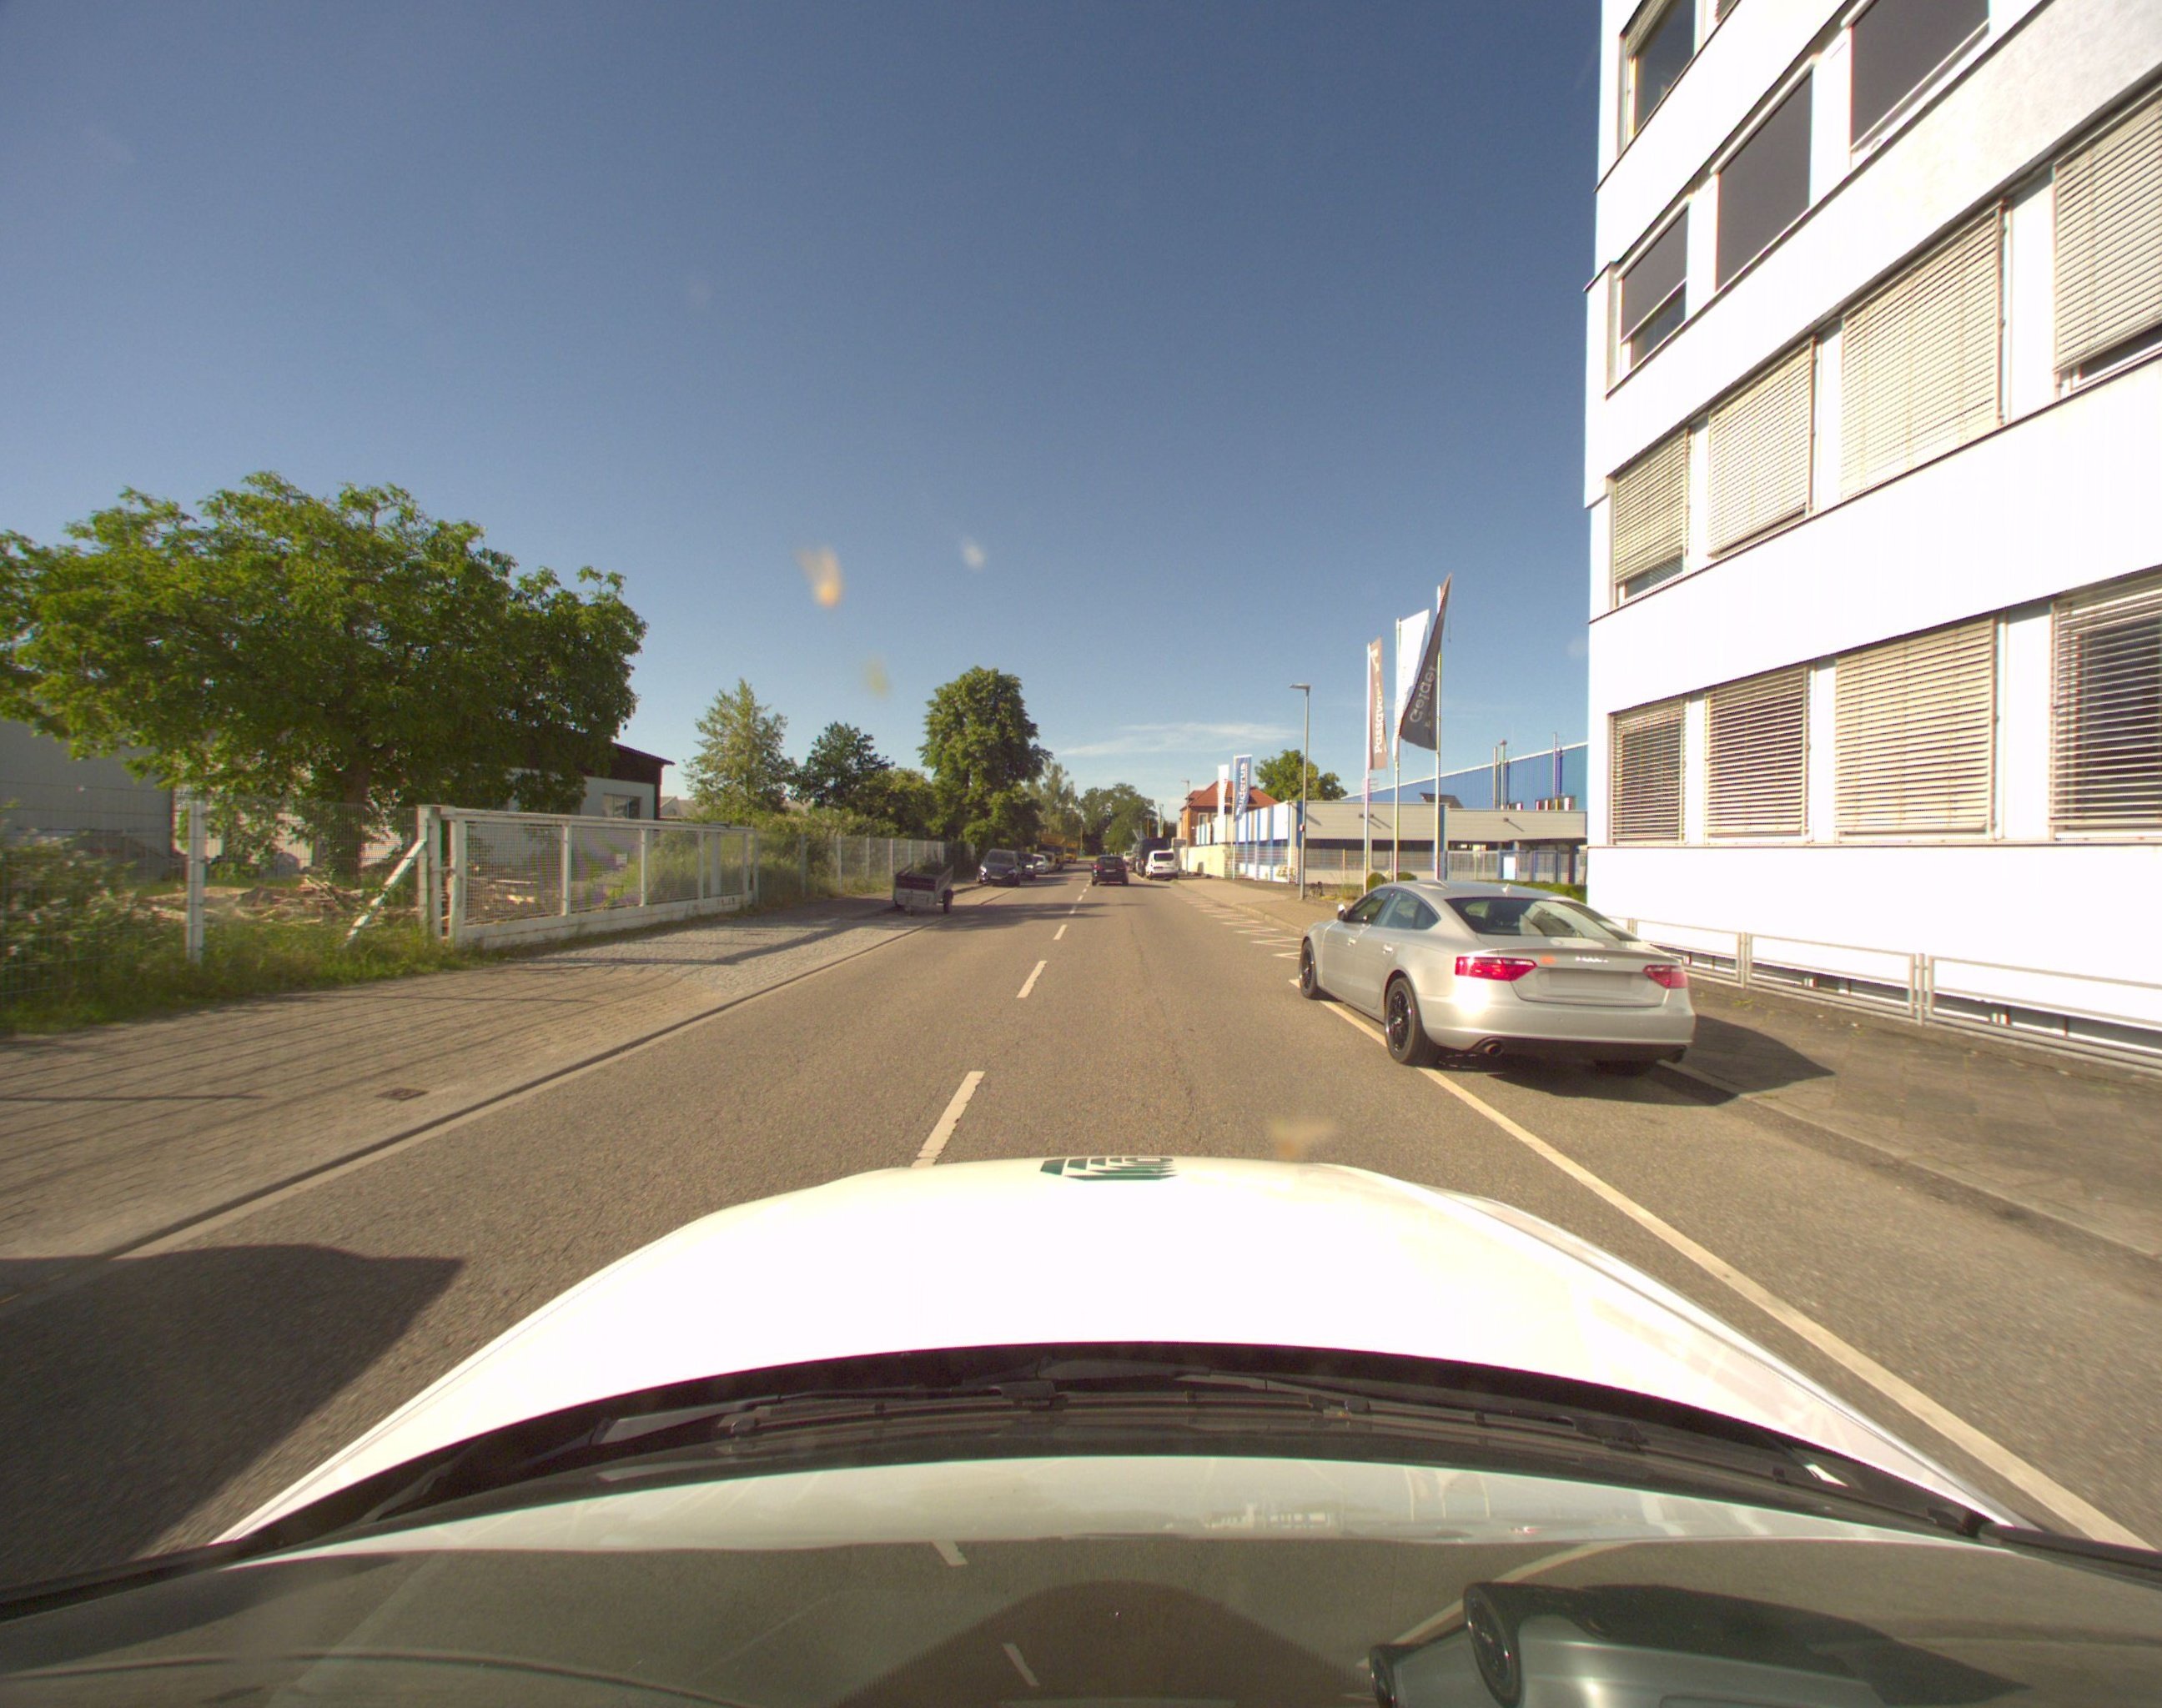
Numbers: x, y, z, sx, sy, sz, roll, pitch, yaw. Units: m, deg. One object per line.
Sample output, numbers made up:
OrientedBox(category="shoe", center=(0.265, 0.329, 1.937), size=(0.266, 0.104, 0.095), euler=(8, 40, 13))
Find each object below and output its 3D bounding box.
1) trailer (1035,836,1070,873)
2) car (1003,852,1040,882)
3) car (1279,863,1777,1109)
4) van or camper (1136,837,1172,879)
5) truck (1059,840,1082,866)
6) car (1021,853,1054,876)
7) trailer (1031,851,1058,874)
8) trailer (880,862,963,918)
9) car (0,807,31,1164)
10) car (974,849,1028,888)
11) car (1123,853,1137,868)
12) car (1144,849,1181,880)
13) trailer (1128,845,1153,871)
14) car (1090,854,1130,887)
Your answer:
OrientedBox(category="trailer", center=(-2.758, 0.045, 81.116), size=(2.981, 3.443, 8.162), euler=(1, 0, 1))
OrientedBox(category="car", center=(-3.659, 0.776, 50.901), size=(1.902, 1.662, 4.462), euler=(5, 0, 0))
OrientedBox(category="car", center=(3.347, 0.831, 7.530), size=(1.887, 1.405, 5.126), euler=(2, -1, 2))
OrientedBox(category="van or camper", center=(5.183, 0.310, 58.319), size=(2.132, 2.759, 6.164), euler=(2, -1, 2))
OrientedBox(category="truck", center=(-1.579, -0.197, 124.668), size=(2.622, 3.504, 8.662), euler=(7, 1, 2))
OrientedBox(category="car", center=(-3.383, 0.785, 64.277), size=(1.900, 1.593, 5.028), euler=(5, 0, 3))
OrientedBox(category="trailer", center=(-3.097, 0.734, 70.202), size=(1.986, 1.942, 4.417), euler=(0, 0, 2))
OrientedBox(category="trailer", center=(-4.242, 0.920, 22.019), size=(1.471, 1.354, 3.080), euler=(2, 0, 2))
OrientedBox(category="car", center=(-5.457, 0.582, 0.808), size=(2.023, 1.693, 5.107), euler=(5, 0, 1))
OrientedBox(category="car", center=(-3.841, 0.653, 39.917), size=(1.784, 1.730, 4.807), euler=(3, 0, 4))
OrientedBox(category="car", center=(7.148, 0.922, 118.385), size=(1.867, 2.014, 5.163), euler=(2, -1, 2))
OrientedBox(category="car", center=(5.158, 0.685, 51.871), size=(1.879, 1.797, 5.104), euler=(2, -1, 1))
OrientedBox(category="trailer", center=(6.393, 0.401, 88.105), size=(2.450, 2.673, 5.704), euler=(1, 0, 2))
OrientedBox(category="car", center=(1.461, 0.750, 39.731), size=(1.840, 1.530, 4.003), euler=(0, 0, 3))
